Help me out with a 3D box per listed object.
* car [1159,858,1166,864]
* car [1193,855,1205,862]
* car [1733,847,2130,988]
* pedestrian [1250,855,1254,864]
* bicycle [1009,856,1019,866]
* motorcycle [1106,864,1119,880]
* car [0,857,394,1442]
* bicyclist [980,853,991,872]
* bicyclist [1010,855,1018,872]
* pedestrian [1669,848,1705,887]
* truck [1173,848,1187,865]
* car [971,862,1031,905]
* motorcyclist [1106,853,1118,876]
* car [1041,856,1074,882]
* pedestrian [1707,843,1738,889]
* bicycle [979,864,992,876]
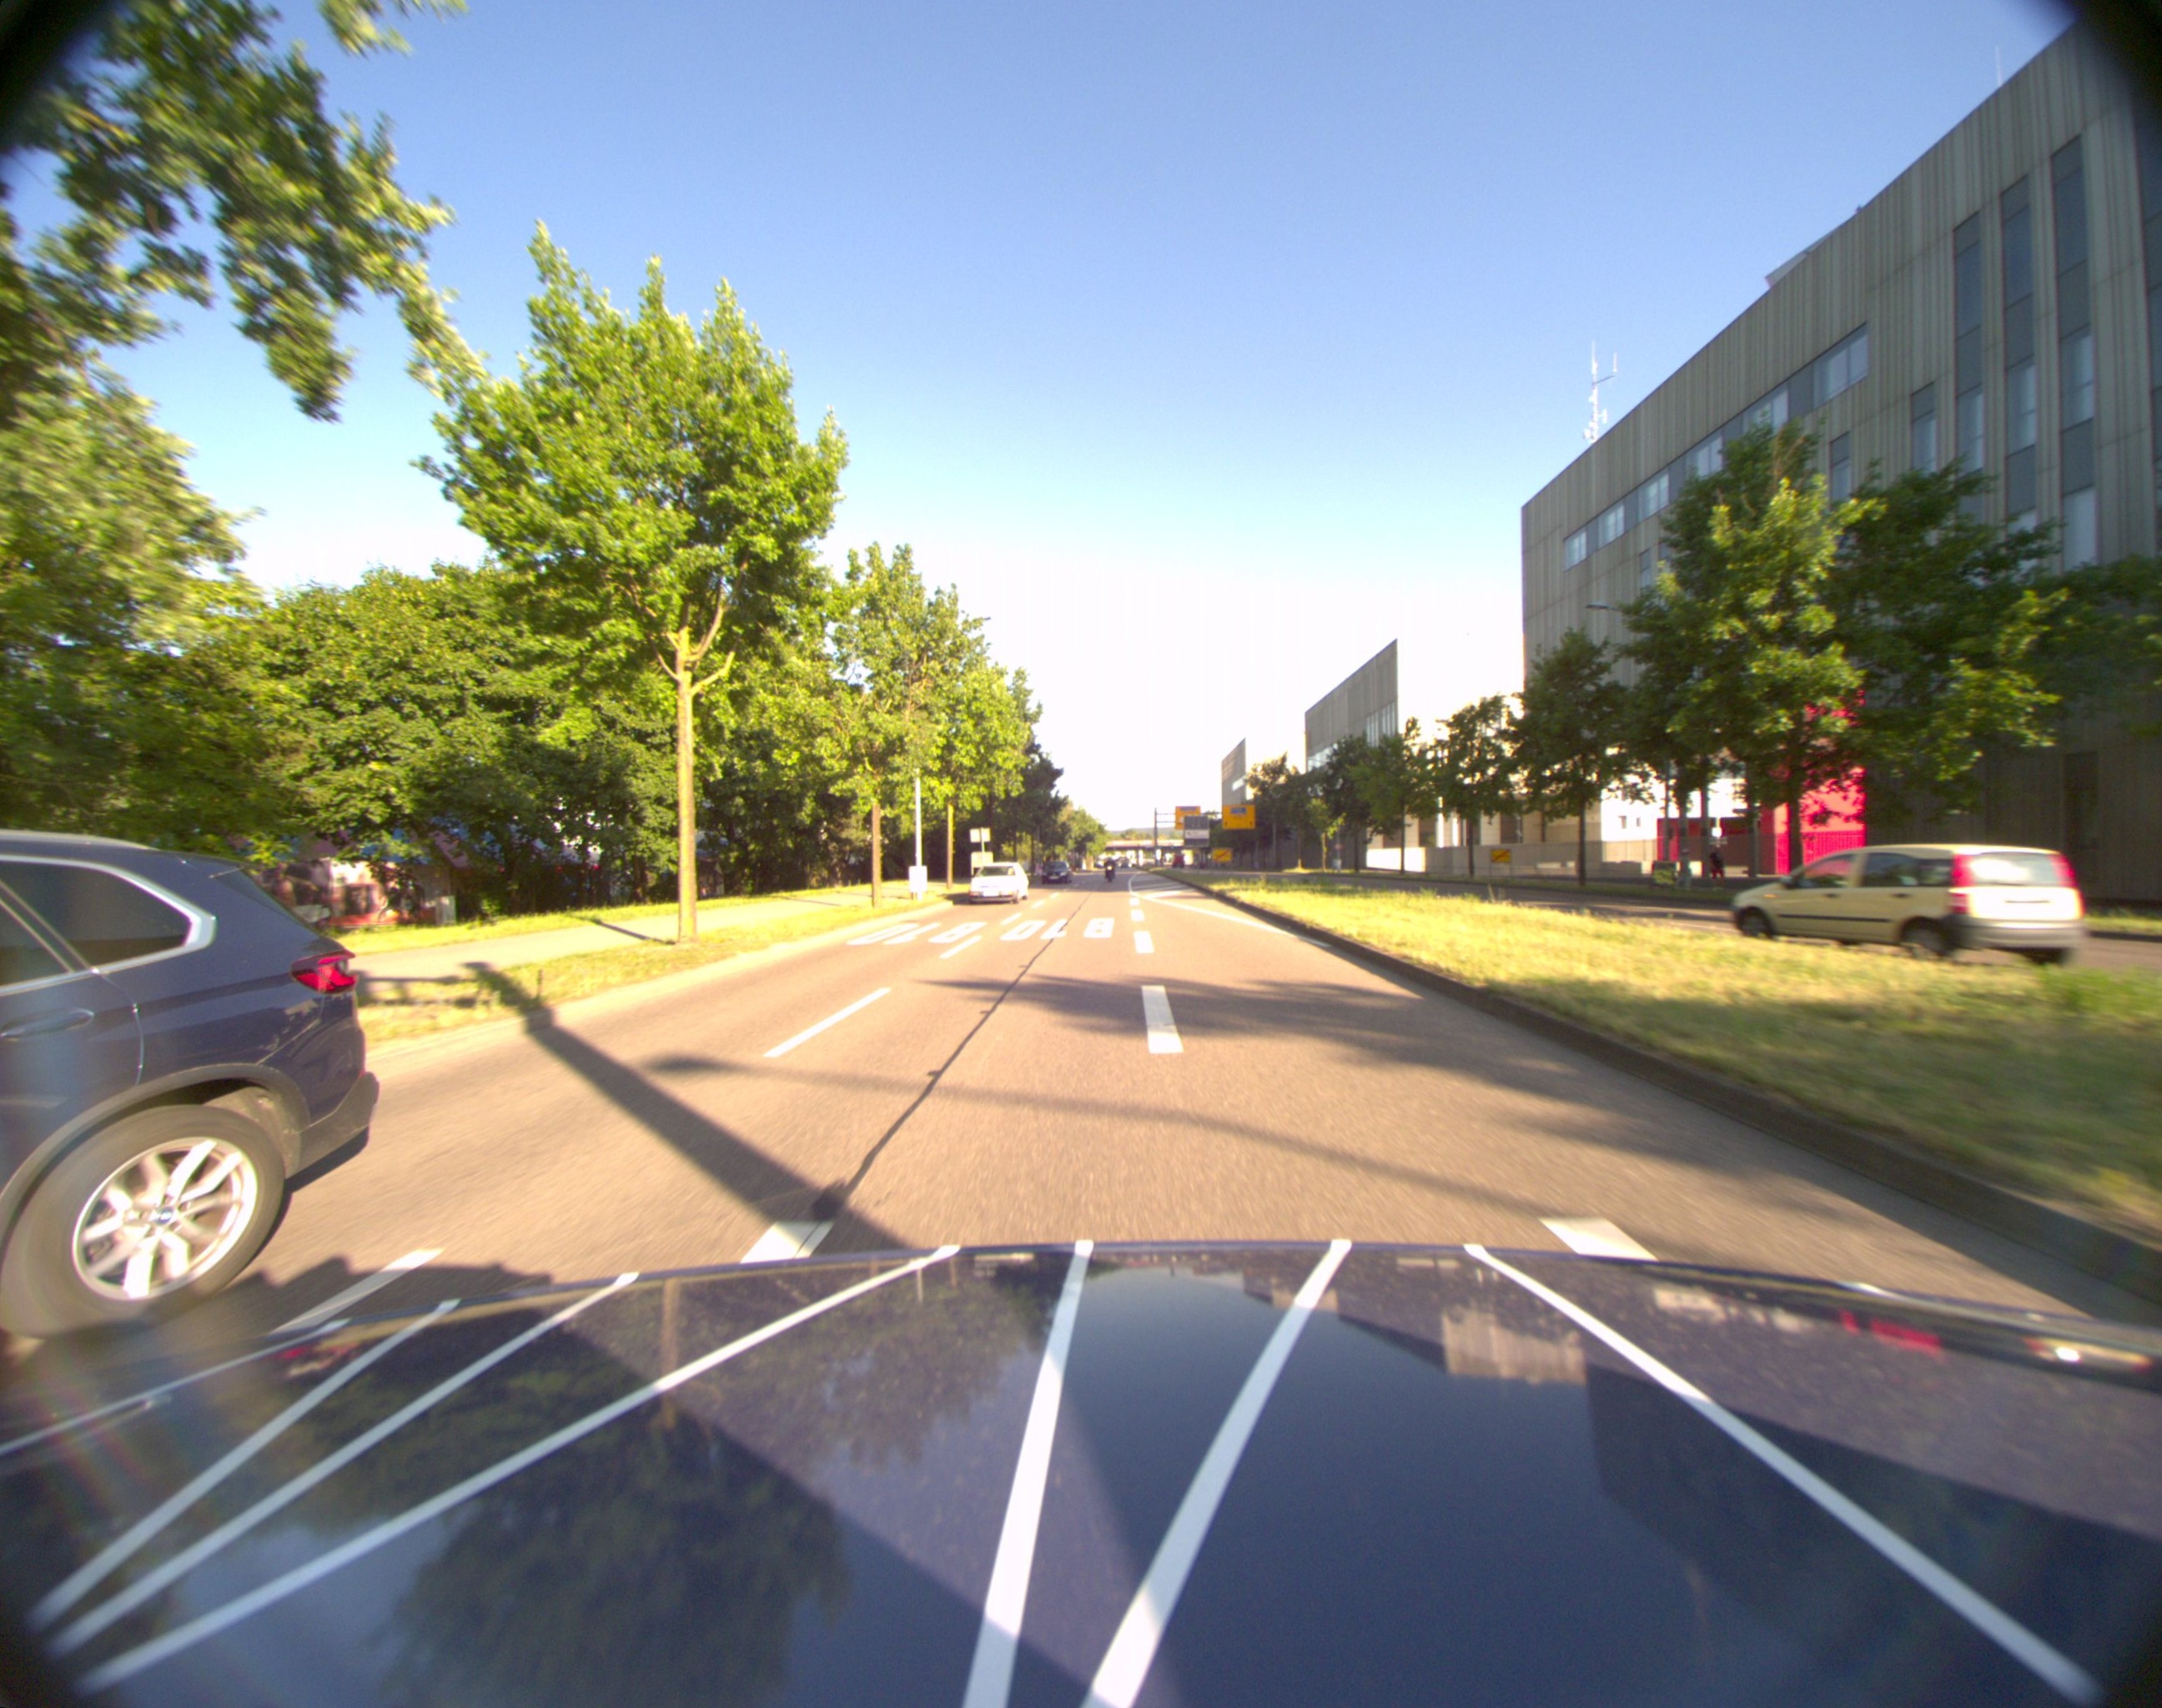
[{"bbox_3d":[21.651,1.864,202.264,1.997,1.805,4.403,0,0,6],"label":"car"},{"bbox_3d":[24.712,1.009,159.224,1.600,1.503,3.866,-1,0,-2],"label":"car"},{"bbox_3d":[11.040,0.713,10.263,1.566,1.565,3.412,-1,0,1],"label":"car"},{"bbox_3d":[32.960,1.120,146.459,0.604,1.757,0.649,-1,0,4],"label":"pedestrian"},{"bbox_3d":[-6.719,0.741,76.661,0.618,0.968,2.059,-1,0,5],"label":"bicycle"},{"bbox_3d":[2.005,1.117,48.398,0.748,0.977,2.141,-1,0,2],"label":"motorcycle"},{"bbox_3d":[-4.270,0.924,1.148,1.959,1.717,4.700,-2,0,3],"label":"car"},{"bbox_3d":[-7.490,0.646,59.559,0.614,1.493,0.848,-1,0,5],"label":"bicyclist"},{"bbox_3d":[-6.747,0.969,76.204,0.604,1.723,0.848,-1,0,5],"label":"bicyclist"},{"bbox_3d":[25.147,0.553,31.534,0.778,1.592,0.909,-1,0,4],"label":"pedestrian"},{"bbox_3d":[23.469,0.599,180.444,3.004,3.789,10.093,-1,0,5],"label":"truck"},{"bbox_3d":[-2.786,1.011,27.198,1.615,1.390,4.039,-2,-1,1],"label":"car"},{"bbox_3d":[2.001,0.665,48.526,0.734,1.503,0.919,-1,0,2],"label":"motorcyclist"},{"bbox_3d":[-1.425,0.941,48.176,1.725,1.490,4.214,-2,0,2],"label":"car"},{"bbox_3d":[25.801,0.465,30.555,0.634,1.830,0.717,-1,0,4],"label":"pedestrian"},{"bbox_3d":[-7.487,1.249,59.478,0.618,0.968,1.822,-1,0,5],"label":"bicycle"}]
